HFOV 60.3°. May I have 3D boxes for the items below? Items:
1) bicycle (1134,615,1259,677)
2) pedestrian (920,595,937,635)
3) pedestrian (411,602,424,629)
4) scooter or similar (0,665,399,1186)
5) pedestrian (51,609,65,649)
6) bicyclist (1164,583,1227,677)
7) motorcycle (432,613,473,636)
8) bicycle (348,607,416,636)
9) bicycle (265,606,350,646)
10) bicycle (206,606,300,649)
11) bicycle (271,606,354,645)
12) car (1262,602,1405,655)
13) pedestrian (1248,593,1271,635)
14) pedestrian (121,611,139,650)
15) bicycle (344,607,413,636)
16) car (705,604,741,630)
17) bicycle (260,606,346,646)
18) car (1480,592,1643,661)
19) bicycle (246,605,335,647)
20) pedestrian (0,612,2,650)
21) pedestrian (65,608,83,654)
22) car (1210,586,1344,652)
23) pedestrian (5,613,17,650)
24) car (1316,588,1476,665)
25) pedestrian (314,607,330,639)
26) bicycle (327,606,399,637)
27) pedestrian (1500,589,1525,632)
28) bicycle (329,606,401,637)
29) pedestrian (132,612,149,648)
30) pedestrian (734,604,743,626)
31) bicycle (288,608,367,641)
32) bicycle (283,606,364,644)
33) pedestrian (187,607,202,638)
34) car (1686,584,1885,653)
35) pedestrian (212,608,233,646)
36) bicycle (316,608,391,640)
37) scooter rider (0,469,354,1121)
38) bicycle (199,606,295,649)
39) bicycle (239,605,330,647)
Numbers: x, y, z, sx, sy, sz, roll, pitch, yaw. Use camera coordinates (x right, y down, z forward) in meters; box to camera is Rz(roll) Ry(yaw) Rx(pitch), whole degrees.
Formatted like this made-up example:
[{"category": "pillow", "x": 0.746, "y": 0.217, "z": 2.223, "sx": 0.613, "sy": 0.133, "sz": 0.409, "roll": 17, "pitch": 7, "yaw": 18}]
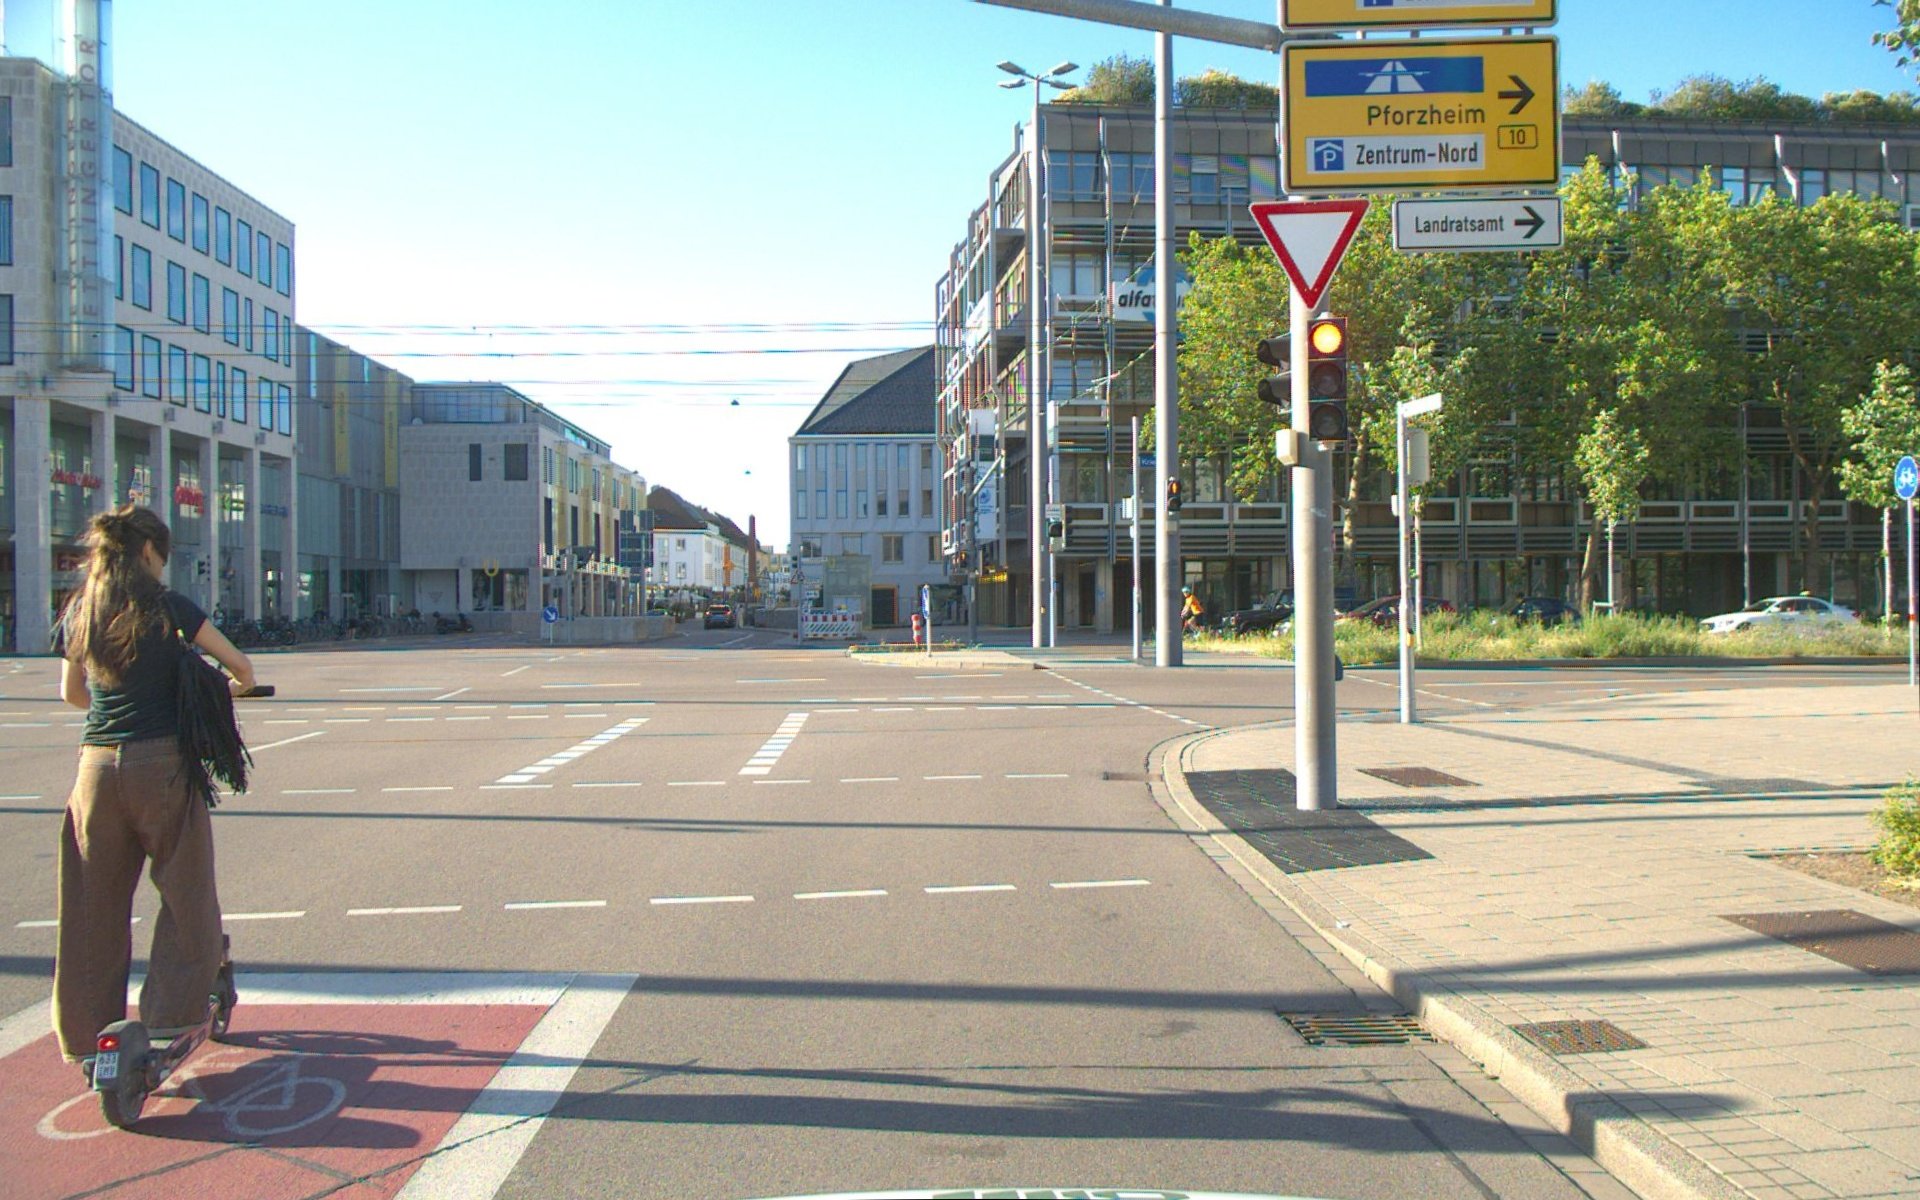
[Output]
[{"category": "bicycle", "x": 6.751, "y": 1.304, "z": 47.223, "sx": 3.427, "sy": 1.688, "sz": 0.929, "roll": -1, "pitch": 0, "yaw": -10}, {"category": "pedestrian", "x": -1.319, "y": 0.628, "z": 69.563, "sx": 0.650, "sy": 1.687, "sz": 0.755, "roll": -1, "pitch": 0, "yaw": -4}, {"category": "pedestrian", "x": -34.291, "y": 0.980, "z": 104.615, "sx": 0.684, "sy": 1.671, "sz": 0.693, "roll": -1, "pitch": 0, "yaw": -11}, {"category": "scooter or similar", "x": -2.310, "y": 0.843, "z": 4.949, "sx": 0.713, "sy": 1.223, "sz": 1.664, "roll": 0, "pitch": 0, "yaw": -1}, {"category": "pedestrian", "x": -36.275, "y": 1.169, "z": 66.504, "sx": 0.379, "sy": 1.613, "sz": 0.367, "roll": -1, "pitch": 0, "yaw": -6}, {"category": "bicyclist", "x": 6.721, "y": 0.834, "z": 47.223, "sx": 1.539, "sy": 2.625, "sz": 0.930, "roll": -1, "pitch": 0, "yaw": -10}, {"category": "motorcycle", "x": -29.951, "y": 1.438, "z": 97.594, "sx": 2.230, "sy": 1.341, "sz": 0.719, "roll": -1, "pitch": 0, "yaw": -6}, {"category": "bicycle", "x": -31.944, "y": 1.200, "z": 91.424, "sx": 3.430, "sy": 1.554, "sz": 0.984, "roll": -1, "pitch": 0, "yaw": -12}, {"category": "bicycle", "x": -29.794, "y": 1.180, "z": 75.582, "sx": 3.430, "sy": 1.726, "sz": 0.984, "roll": -1, "pitch": 0, "yaw": -12}, {"category": "bicycle", "x": -29.550, "y": 1.123, "z": 69.223, "sx": 3.427, "sy": 1.726, "sz": 1.114, "roll": -1, "pitch": 0, "yaw": -10}, {"category": "bicycle", "x": -30.035, "y": 1.181, "z": 76.781, "sx": 3.430, "sy": 1.726, "sz": 0.984, "roll": -1, "pitch": 0, "yaw": -12}, {"category": "car", "x": 11.443, "y": 0.866, "z": 50.816, "sx": 3.908, "sy": 1.534, "sz": 1.867, "roll": 1, "pitch": 0, "yaw": -4}, {"category": "pedestrian", "x": 12.118, "y": 0.567, "z": 66.928, "sx": 0.715, "sy": 1.687, "sz": 0.649, "roll": -1, "pitch": 0, "yaw": -8}, {"category": "pedestrian", "x": -34.893, "y": 1.292, "z": 69.539, "sx": 0.472, "sy": 1.613, "sz": 0.513, "roll": -1, "pitch": 0, "yaw": -5}, {"category": "bicycle", "x": -31.780, "y": 1.170, "z": 90.400, "sx": 3.430, "sy": 1.554, "sz": 0.984, "roll": -1, "pitch": 0, "yaw": -12}, {"category": "car", "x": -15.493, "y": 1.099, "z": 108.163, "sx": 2.157, "sy": 1.635, "sz": 4.320, "roll": -1, "pitch": 0, "yaw": -6}, {"category": "bicycle", "x": -29.570, "y": 1.171, "z": 74.494, "sx": 3.430, "sy": 1.726, "sz": 0.984, "roll": -1, "pitch": 0, "yaw": -12}, {"category": "car", "x": 18.830, "y": 0.823, "z": 51.879, "sx": 4.359, "sy": 2.049, "sz": 1.998, "roll": 1, "pitch": 0, "yaw": -6}, {"category": "bicycle", "x": -29.095, "y": 1.126, "z": 71.925, "sx": 3.427, "sy": 1.726, "sz": 1.114, "roll": -1, "pitch": 0, "yaw": -10}, {"category": "pedestrian", "x": -37.762, "y": 1.216, "z": 64.762, "sx": 0.381, "sy": 1.451, "sz": 0.498, "roll": -1, "pitch": 0, "yaw": -26}, {"category": "pedestrian", "x": -32.431, "y": 1.119, "z": 60.524, "sx": 0.533, "sy": 1.671, "sz": 0.546, "roll": -1, "pitch": 0, "yaw": -26}, {"category": "car", "x": 10.308, "y": 0.600, "z": 53.919, "sx": 3.908, "sy": 2.049, "sz": 1.999, "roll": 1, "pitch": 0, "yaw": -3}, {"category": "pedestrian", "x": -37.369, "y": 1.232, "z": 65.125, "sx": 0.382, "sy": 1.437, "sz": 0.433, "roll": -1, "pitch": 0, "yaw": -29}, {"category": "car", "x": 12.235, "y": 0.735, "z": 46.578, "sx": 3.908, "sy": 2.049, "sz": 1.999, "roll": 1, "pitch": 0, "yaw": -3}, {"category": "pedestrian", "x": -33.615, "y": 1.194, "z": 87.111, "sx": 0.641, "sy": 1.671, "sz": 0.693, "roll": -1, "pitch": 0, "yaw": -9}, {"category": "bicycle", "x": -31.069, "y": 1.123, "z": 86.127, "sx": 3.430, "sy": 1.554, "sz": 0.984, "roll": -1, "pitch": 0, "yaw": -12}, {"category": "pedestrian", "x": 21.950, "y": 0.432, "z": 65.690, "sx": 0.651, "sy": 1.687, "sz": 0.740, "roll": -1, "pitch": 0, "yaw": -8}, {"category": "bicycle", "x": -31.386, "y": 1.111, "z": 87.244, "sx": 3.430, "sy": 1.554, "sz": 0.984, "roll": -1, "pitch": 0, "yaw": -12}, {"category": "pedestrian", "x": -34.822, "y": 1.265, "z": 70.249, "sx": 0.472, "sy": 1.537, "sz": 0.513, "roll": -1, "pitch": 0, "yaw": -5}, {"category": "pedestrian", "x": -14.460, "y": 0.973, "z": 108.010, "sx": 0.598, "sy": 1.436, "sz": 0.569, "roll": -1, "pitch": 0, "yaw": -7}, {"category": "bicycle", "x": -30.538, "y": 1.174, "z": 79.856, "sx": 3.430, "sy": 1.554, "sz": 0.984, "roll": -1, "pitch": 0, "yaw": -12}, {"category": "bicycle", "x": -30.334, "y": 1.190, "z": 78.867, "sx": 3.430, "sy": 1.726, "sz": 0.984, "roll": -1, "pitch": 0, "yaw": -12}, {"category": "pedestrian", "x": -36.546, "y": 1.063, "z": 78.984, "sx": 0.629, "sy": 1.460, "sz": 0.472, "roll": -1, "pitch": 0, "yaw": -23}, {"category": "car", "x": 26.175, "y": 0.580, "z": 52.575, "sx": 5.332, "sy": 2.049, "sz": 2.096, "roll": 1, "pitch": 0, "yaw": -3}, {"category": "pedestrian", "x": -33.299, "y": 1.209, "z": 74.670, "sx": 0.776, "sy": 1.671, "sz": 0.688, "roll": -1, "pitch": 0, "yaw": -30}, {"category": "bicycle", "x": -30.881, "y": 1.215, "z": 84.266, "sx": 3.430, "sy": 1.554, "sz": 0.984, "roll": -1, "pitch": 0, "yaw": -12}, {"category": "scooter rider", "x": -2.336, "y": 0.539, "z": 4.998, "sx": 0.713, "sy": 1.806, "sz": 0.811, "roll": 0, "pitch": 0, "yaw": -1}, {"category": "bicycle", "x": -29.319, "y": 1.116, "z": 68.033, "sx": 3.427, "sy": 1.726, "sz": 1.114, "roll": -1, "pitch": 0, "yaw": -10}, {"category": "bicycle", "x": -28.864, "y": 1.090, "z": 70.713, "sx": 3.427, "sy": 1.726, "sz": 1.114, "roll": -1, "pitch": 0, "yaw": -10}]
